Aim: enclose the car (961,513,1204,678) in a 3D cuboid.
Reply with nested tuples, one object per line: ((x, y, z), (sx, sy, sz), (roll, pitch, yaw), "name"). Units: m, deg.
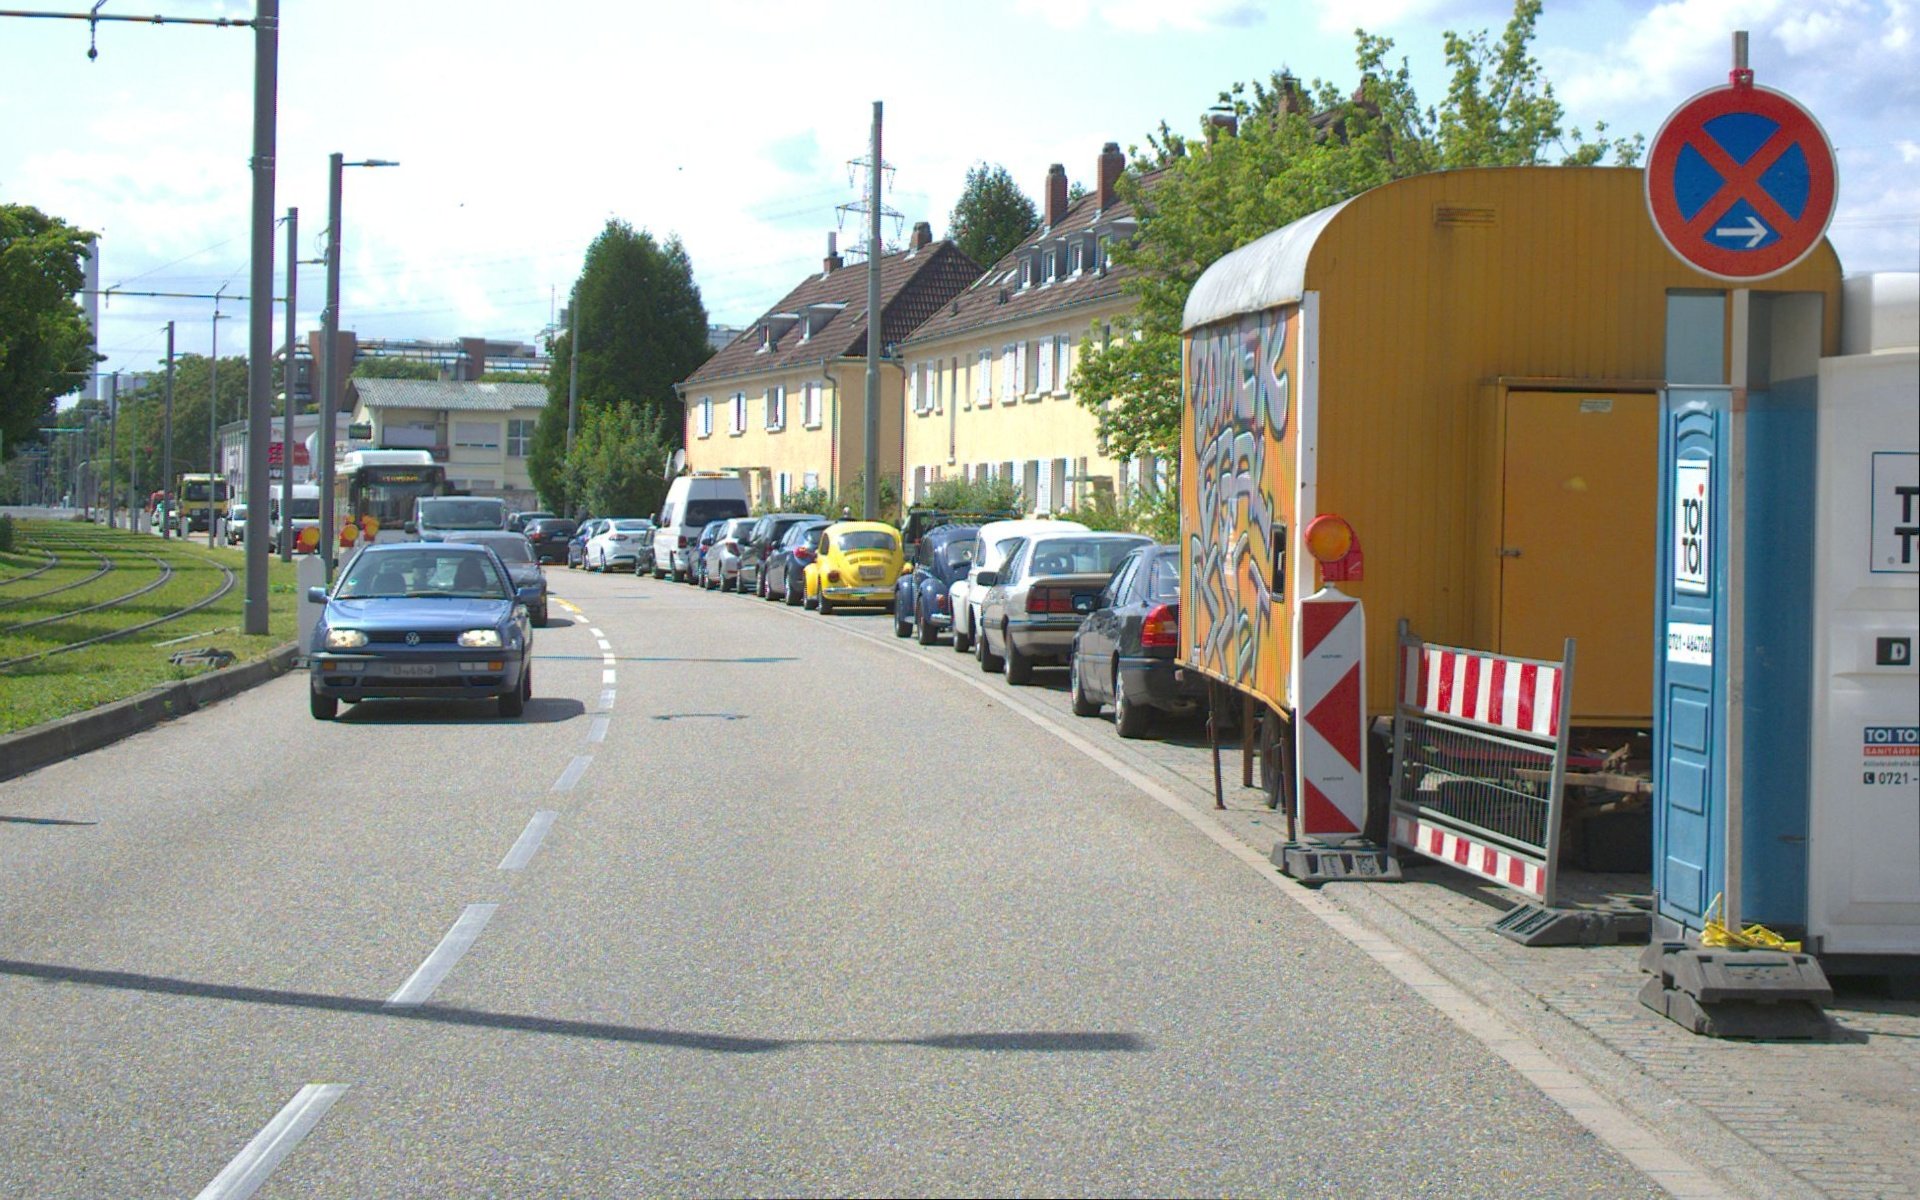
((1.103, -0.097, 33.284), (1.706, 1.444, 4.836), (1, 1, -5), "car")

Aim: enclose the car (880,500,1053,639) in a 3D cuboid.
((0.036, -0.422, 43.463), (1.548, 1.635, 4.248), (1, 1, -8), "car")

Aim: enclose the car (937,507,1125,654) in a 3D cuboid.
((0.732, -0.263, 38.367), (1.577, 1.507, 4.460), (1, 1, -5), "car")

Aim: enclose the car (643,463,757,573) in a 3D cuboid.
((-6.120, -1.930, 80.317), (1.929, 2.472, 5.519), (0, 1, -12), "car")

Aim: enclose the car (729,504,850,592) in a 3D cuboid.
((-3.326, -1.036, 66.417), (1.635, 1.597, 3.933), (1, 1, -13), "car")

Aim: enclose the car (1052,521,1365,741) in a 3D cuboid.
((1.748, 0.165, 25.546), (1.577, 1.444, 4.454), (1, 1, -5), "car")

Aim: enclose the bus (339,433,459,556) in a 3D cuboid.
((-16.637, -3.120, 101.399), (2.635, 3.400, 12.253), (0, 2, -13), "bus")

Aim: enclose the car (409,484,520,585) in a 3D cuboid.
((-10.147, -1.354, 70.098), (1.955, 1.959, 5.294), (0, 2, -11), "car")

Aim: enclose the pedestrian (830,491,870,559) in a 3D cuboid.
((-2.720, -1.853, 84.937), (0.853, 1.646, 0.637), (2, 1, -10), "pedestrian")

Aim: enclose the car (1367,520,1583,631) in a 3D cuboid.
((6.836, -0.355, 46.058), (1.636, 1.369, 4.089), (1, 1, -10), "car")

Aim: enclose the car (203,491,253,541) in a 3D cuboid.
((-27.131, -3.139, 127.335), (1.734, 1.767, 4.310), (1, 1, -13), "car")

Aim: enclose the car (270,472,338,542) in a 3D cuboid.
((-23.922, -3.386, 125.164), (2.102, 2.435, 5.573), (1, 1, -14), "car")

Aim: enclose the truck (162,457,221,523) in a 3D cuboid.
((-41.229, -5.906, 184.412), (2.559, 3.447, 7.152), (-1, 2, -17), "truck")

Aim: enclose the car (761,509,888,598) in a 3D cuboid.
((-2.446, -0.847, 61.102), (1.636, 1.477, 4.126), (1, 1, -11), "car")

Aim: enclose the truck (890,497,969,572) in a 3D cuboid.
((-0.709, -1.501, 78.892), (1.346, 1.683, 2.442), (1, 1, -11), "truck")

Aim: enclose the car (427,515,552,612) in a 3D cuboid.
((-7.167, -0.579, 52.112), (1.724, 1.384, 4.123), (1, 1, -10), "car")

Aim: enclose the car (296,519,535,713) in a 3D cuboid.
((-4.418, 0.074, 28.349), (1.665, 1.444, 3.960), (-1, 2, -5), "car")

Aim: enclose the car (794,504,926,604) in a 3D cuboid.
((-1.657, -0.778, 55.698), (1.636, 1.477, 3.933), (-2, 2, -9), "car")

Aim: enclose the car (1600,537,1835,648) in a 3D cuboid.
((10.118, -0.131, 46.215), (1.636, 1.369, 4.089), (1, 1, -10), "car")

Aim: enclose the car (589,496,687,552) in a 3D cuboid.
((-8.731, -2.051, 92.934), (1.798, 1.453, 4.767), (-1, 1, -16), "car")

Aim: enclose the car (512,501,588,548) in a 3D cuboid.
((-12.755, -2.366, 106.759), (1.763, 1.412, 4.002), (-1, 2, -15), "car")

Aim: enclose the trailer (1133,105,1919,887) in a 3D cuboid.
((2.544, -0.486, 16.963), (2.690, 3.215, 5.083), (1, 1, -4), "trailer")

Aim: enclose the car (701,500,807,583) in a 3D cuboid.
((-4.237, -1.216, 70.214), (1.636, 1.597, 4.031), (1, 1, -11), "car")
